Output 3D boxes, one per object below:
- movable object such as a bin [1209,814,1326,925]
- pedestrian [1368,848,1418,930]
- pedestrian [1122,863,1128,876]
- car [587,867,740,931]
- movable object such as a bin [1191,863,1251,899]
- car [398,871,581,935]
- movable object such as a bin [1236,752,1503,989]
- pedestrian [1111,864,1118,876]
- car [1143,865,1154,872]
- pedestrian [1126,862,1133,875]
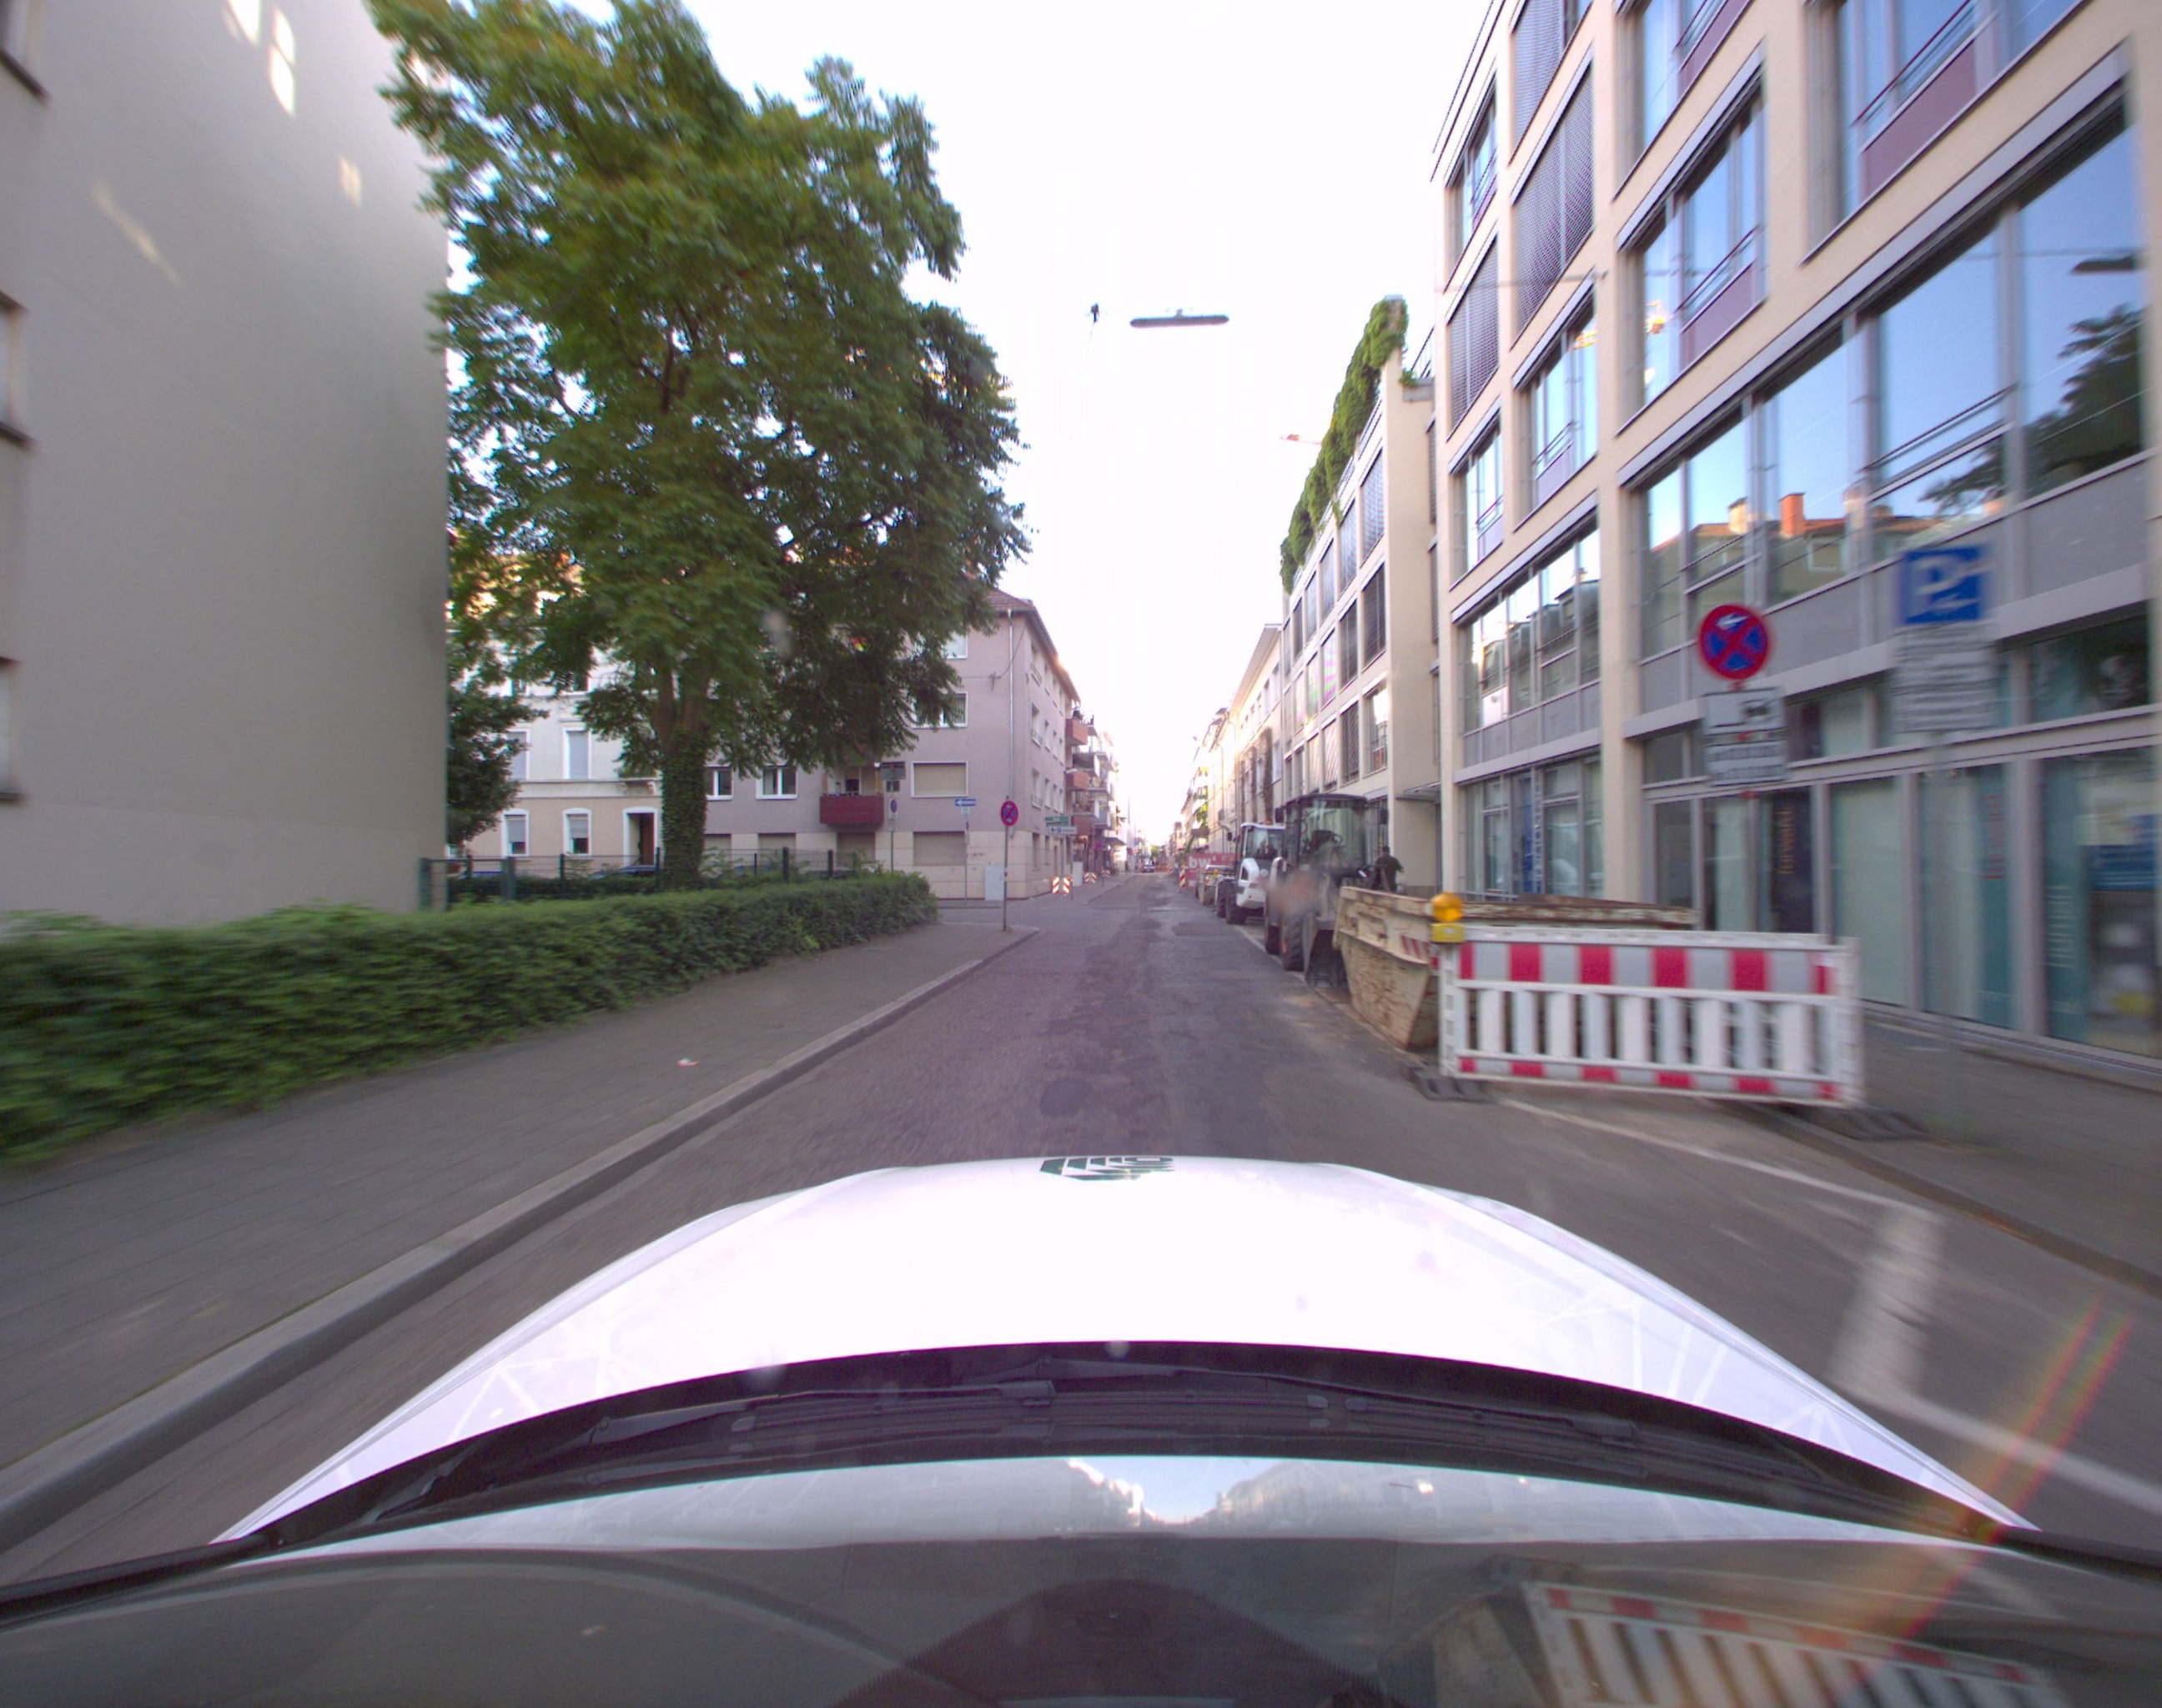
[{"bbox_3d":[4.639,0.380,20.905,2.267,2.540,4.101,-1,-1,3],"label":"movable object such as a bin"},{"bbox_3d":[7.202,0.788,18.824,0.882,1.851,0.878,-1,-1,8],"label":"pedestrian"},{"bbox_3d":[5.618,1.965,104.215,0.794,1.594,0.745,-1,-1,4],"label":"pedestrian"},{"bbox_3d":[-12.180,1.279,23.934,3.507,1.757,1.887,0,0,2],"label":"car"},{"bbox_3d":[5.832,1.084,34.357,2.037,1.411,3.978,-1,-1,3],"label":"movable object such as a bin"},{"bbox_3d":[-17.474,1.414,24.185,3.971,1.757,2.001,0,0,2],"label":"car"},{"bbox_3d":[3.822,0.223,12.147,2.267,2.692,5.654,-1,-1,4],"label":"movable object such as a bin"},{"bbox_3d":[3.831,1.849,93.681,0.660,1.438,0.534,-1,-1,8],"label":"pedestrian"},{"bbox_3d":[10.709,2.314,129.499,1.530,1.134,3.122,-1,-1,2],"label":"car"},{"bbox_3d":[5.980,1.786,99.704,0.793,1.661,0.746,-1,-1,8],"label":"pedestrian"}]
